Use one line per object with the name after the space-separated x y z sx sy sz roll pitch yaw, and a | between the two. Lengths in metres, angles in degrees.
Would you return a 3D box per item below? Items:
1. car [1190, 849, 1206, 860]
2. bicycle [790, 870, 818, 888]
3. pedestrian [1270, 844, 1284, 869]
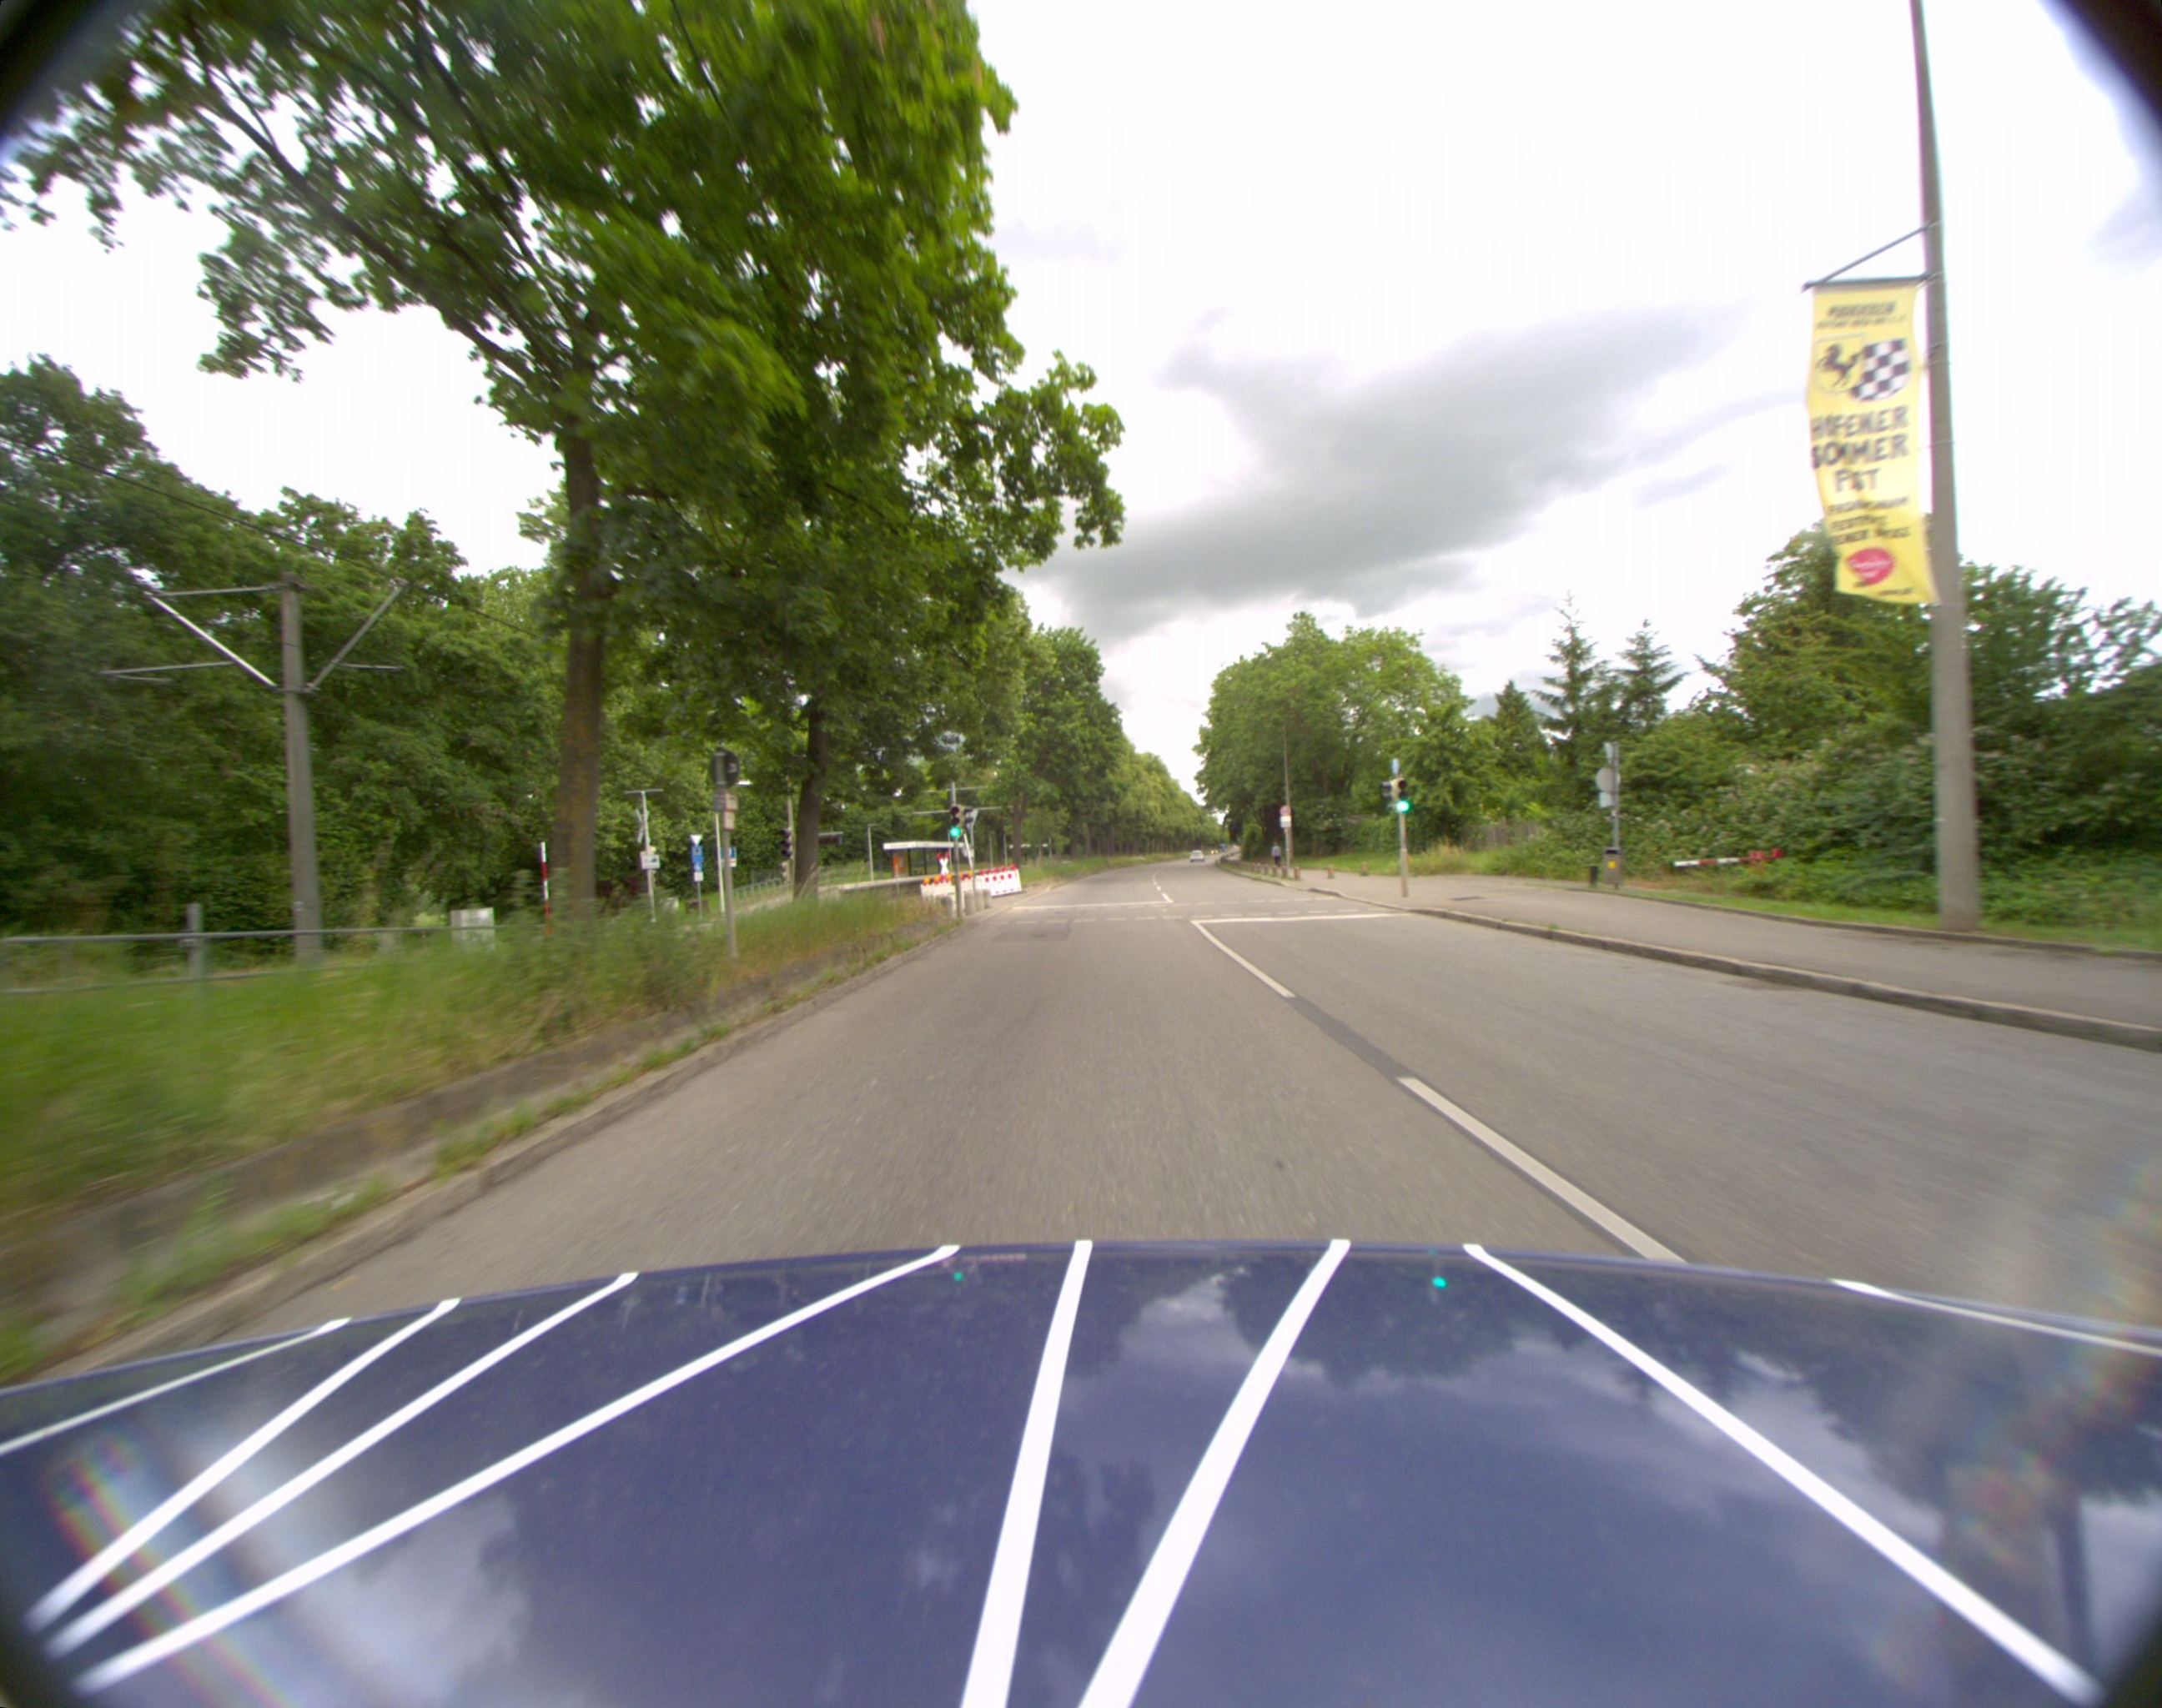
15.847 0.019 102.965 1.777 1.431 4.363 -2 0 5 | car
-16.905 1.534 46.370 1.512 0.968 0.450 -5 0 4 | bicycle
13.069 0.177 50.597 0.691 1.624 0.838 -5 0 7 | pedestrian
